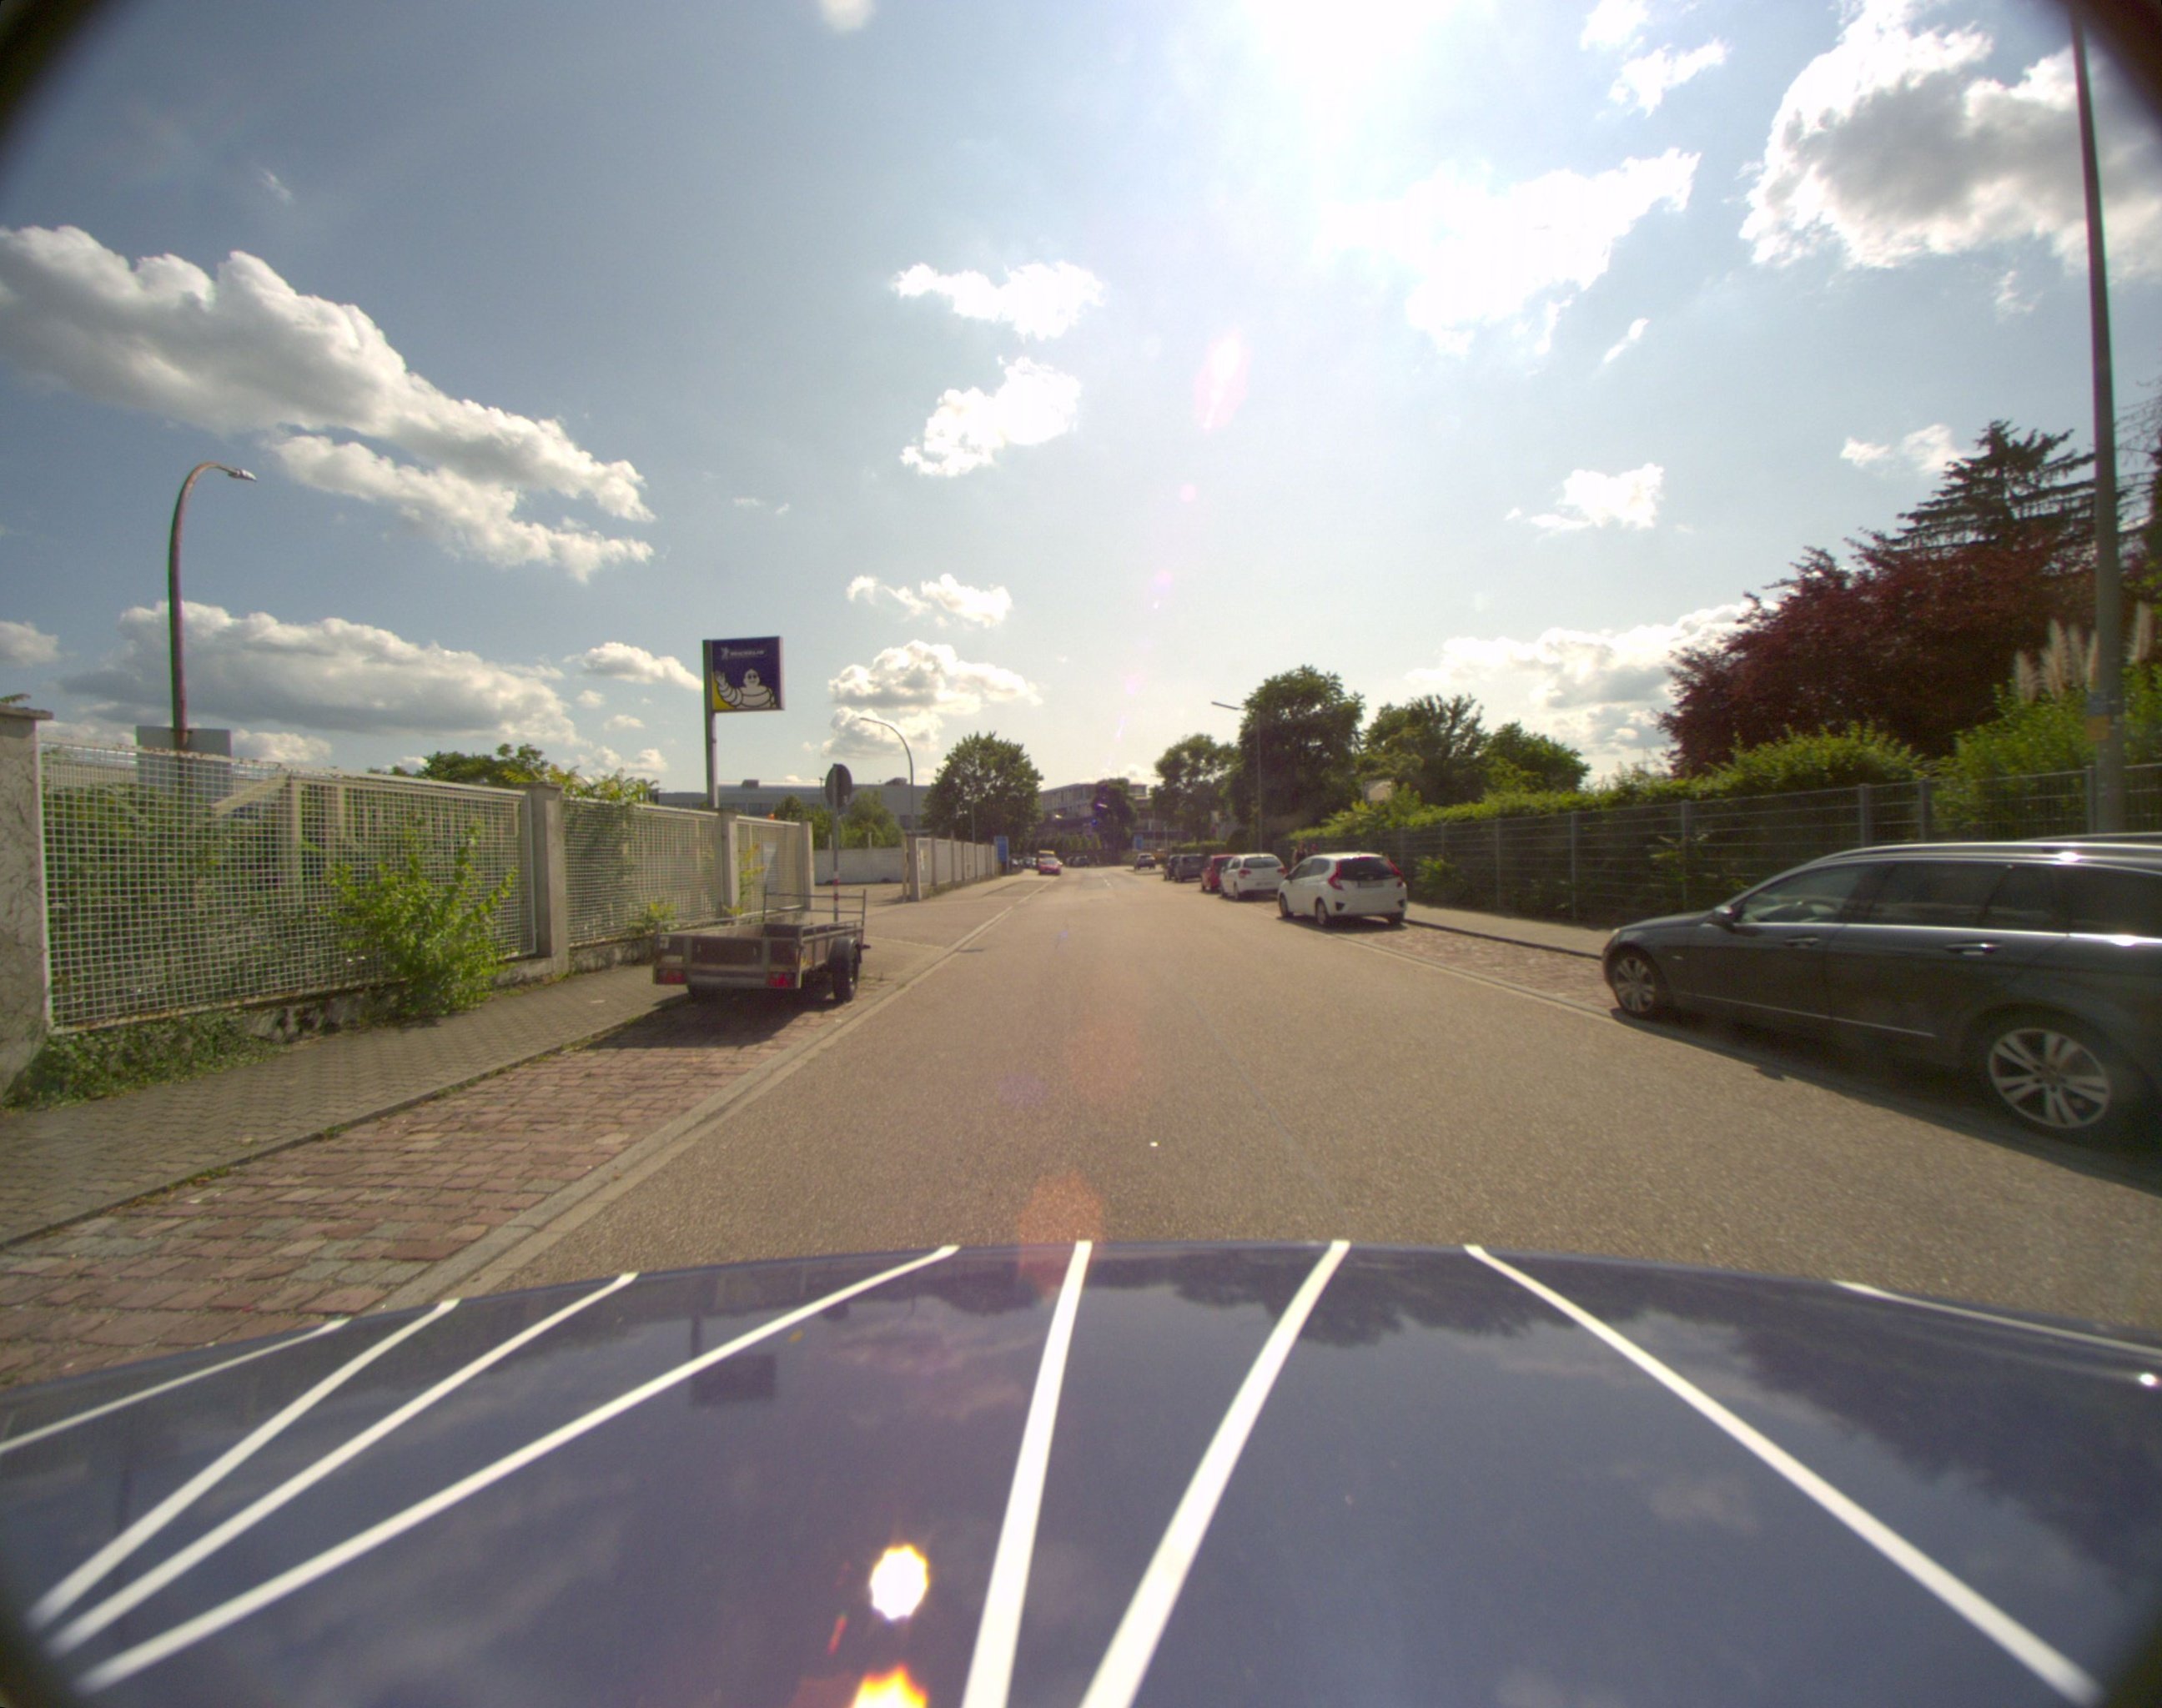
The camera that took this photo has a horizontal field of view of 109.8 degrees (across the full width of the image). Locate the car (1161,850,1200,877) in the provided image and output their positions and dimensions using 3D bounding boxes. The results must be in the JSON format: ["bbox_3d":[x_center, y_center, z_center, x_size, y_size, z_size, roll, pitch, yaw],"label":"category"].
[{"bbox_3d":[6.211,0.558,47.756,1.849,1.499,4.000,-5,0,1],"label":"car"}]

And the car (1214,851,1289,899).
[{"bbox_3d":[5.804,0.660,26.254,1.649,1.469,4.028,-2,1,0],"label":"car"}]

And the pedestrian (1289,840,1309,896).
[{"bbox_3d":[7.518,0.465,26.166,0.452,1.883,0.677,-2,1,1],"label":"pedestrian"}]

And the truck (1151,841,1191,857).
[{"bbox_3d":[16.494,-0.959,139.197,6.943,2.642,2.400,-2,0,-26],"label":"truck"}]

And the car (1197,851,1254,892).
[{"bbox_3d":[5.821,0.672,30.971,1.670,1.458,3.743,-3,1,2],"label":"car"}]

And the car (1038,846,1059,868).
[{"bbox_3d":[-3.887,0.330,90.913,2.163,2.450,6.635,-1,0,-5],"label":"car"}]

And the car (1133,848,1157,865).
[{"bbox_3d":[6.536,0.231,77.608,1.762,1.565,4.475,-3,1,-3],"label":"car"}]

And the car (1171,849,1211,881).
[{"bbox_3d":[6.199,0.588,43.094,1.655,1.636,3.273,-5,0,-1],"label":"car"}]

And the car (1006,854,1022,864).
[{"bbox_3d":[-11.183,0.858,127.013,1.868,1.672,4.703,0,0,-16],"label":"car"}]

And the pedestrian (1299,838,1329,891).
[{"bbox_3d":[8.102,0.351,26.461,0.710,1.791,0.916,-2,1,1],"label":"pedestrian"}]

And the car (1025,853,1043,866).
[{"bbox_3d":[-6.792,0.736,109.026,1.856,1.755,5.072,0,0,-11],"label":"car"}]

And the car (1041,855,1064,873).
[{"bbox_3d":[-2.458,0.841,66.520,1.758,1.478,4.224,2,0,1],"label":"car"}]

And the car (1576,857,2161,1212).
[{"bbox_3d":[5.498,0.783,4.723,1.810,1.410,4.496,-4,0,0],"label":"car"}]

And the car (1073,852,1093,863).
[{"bbox_3d":[0.308,0.565,118.205,1.805,1.641,4.683,-3,1,-14],"label":"car"}]

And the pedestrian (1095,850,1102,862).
[{"bbox_3d":[2.743,0.315,117.691,0.845,1.682,0.830,-4,1,-8],"label":"pedestrian"}]

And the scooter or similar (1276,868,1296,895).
[{"bbox_3d":[7.198,0.956,26.713,0.472,0.882,0.710,-2,1,1],"label":"scooter or similar"}]

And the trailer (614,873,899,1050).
[{"bbox_3d":[-3.462,1.034,9.124,1.754,1.409,4.547,1,1,-4],"label":"trailer"}]

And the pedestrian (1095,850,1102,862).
[{"bbox_3d":[2.692,0.305,118.822,0.831,1.751,0.844,-4,1,-8],"label":"pedestrian"}]

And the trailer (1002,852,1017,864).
[{"bbox_3d":[-12.422,0.702,131.190,1.753,2.055,3.941,1,-1,-18],"label":"trailer"}]

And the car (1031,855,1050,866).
[{"bbox_3d":[-5.506,0.845,102.746,1.839,1.484,4.651,0,0,-12],"label":"car"}]

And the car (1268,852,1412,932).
[{"bbox_3d":[5.613,0.740,17.009,1.624,1.513,4.174,-2,0,-2],"label":"car"}]

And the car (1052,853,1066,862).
[{"bbox_3d":[-3.963,0.675,133.675,1.615,1.514,3.070,-2,0,-18],"label":"car"}]
